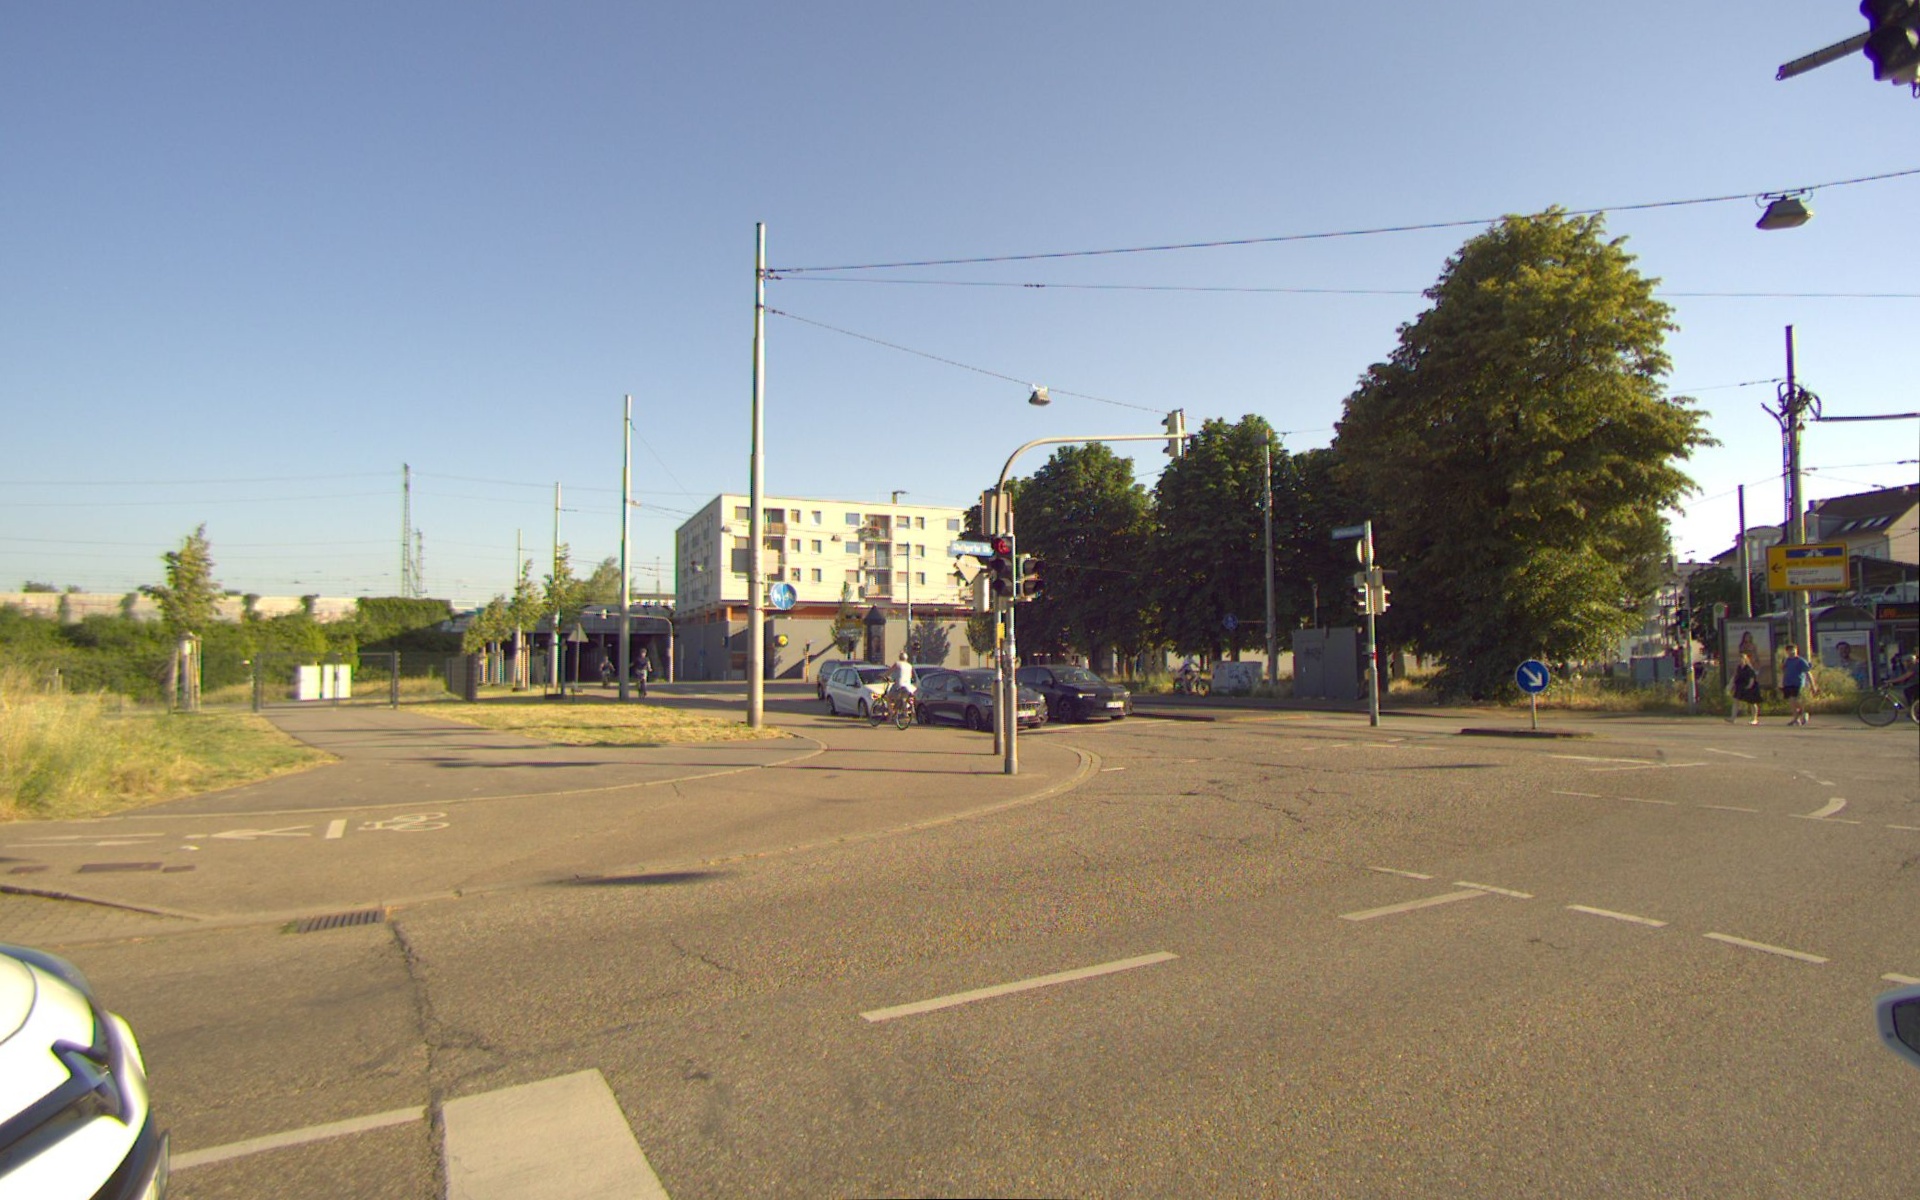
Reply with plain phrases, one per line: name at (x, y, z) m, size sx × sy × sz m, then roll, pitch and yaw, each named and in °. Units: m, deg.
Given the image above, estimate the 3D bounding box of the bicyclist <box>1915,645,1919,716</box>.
bicyclist at (21.464, 1.736, 21.729) m, size 0.692 × 1.552 × 1.026 m, roll 2°, pitch -4°, yaw -38°

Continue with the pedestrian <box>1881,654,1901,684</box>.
pedestrian at (47.979, 3.547, 51.765) m, size 0.558 × 1.520 × 0.677 m, roll -2°, pitch -4°, yaw 32°

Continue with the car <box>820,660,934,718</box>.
car at (-2.586, 2.634, 30.405) m, size 1.975 × 1.587 × 4.246 m, roll 1°, pitch -4°, yaw -27°

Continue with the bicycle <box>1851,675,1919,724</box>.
bicycle at (21.903, 2.284, 23.122) m, size 0.658 × 1.083 × 1.995 m, roll 2°, pitch -4°, yaw -41°

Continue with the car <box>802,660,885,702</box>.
car at (-4.872, 3.300, 41.432) m, size 1.975 × 1.587 × 4.426 m, roll 1°, pitch -4°, yaw -27°

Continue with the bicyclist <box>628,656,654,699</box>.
bicyclist at (-12.552, 3.031, 39.492) m, size 0.867 × 1.646 × 0.967 m, roll 1°, pitch -3°, yaw -26°

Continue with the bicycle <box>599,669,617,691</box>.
bicycle at (-19.401, 4.400, 55.303) m, size 0.781 × 1.164 × 2.280 m, roll 1°, pitch -4°, yaw -23°

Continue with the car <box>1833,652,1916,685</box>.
car at (59.351, 4.433, 65.344) m, size 2.017 × 1.987 × 5.153 m, roll -4°, pitch -4°, yaw 19°

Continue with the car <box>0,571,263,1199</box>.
car at (-3.063, 0.712, 1.008) m, size 3.733 × 1.488 × 1.692 m, roll 2°, pitch -4°, yaw -32°

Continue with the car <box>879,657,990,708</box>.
car at (-0.941, 2.722, 33.653) m, size 1.975 × 1.587 × 4.426 m, roll 1°, pitch -4°, yaw -27°

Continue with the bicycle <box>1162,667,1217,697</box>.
bicycle at (9.189, 3.278, 40.311) m, size 0.695 × 1.157 × 2.176 m, roll 2°, pitch -4°, yaw -40°

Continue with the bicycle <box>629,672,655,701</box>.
bicycle at (-12.532, 3.375, 39.575) m, size 0.744 × 1.107 × 1.938 m, roll 1°, pitch -4°, yaw -25°

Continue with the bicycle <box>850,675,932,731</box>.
bicycle at (-1.528, 2.241, 22.080) m, size 0.659 × 1.083 × 1.993 m, roll 3°, pitch -2°, yaw -44°

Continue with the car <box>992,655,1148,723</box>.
car at (2.769, 2.276, 26.408) m, size 2.027 × 1.587 × 4.423 m, roll 1°, pitch -4°, yaw -26°

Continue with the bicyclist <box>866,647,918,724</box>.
bicyclist at (-1.491, 1.863, 22.124) m, size 0.772 × 1.627 × 0.846 m, roll 3°, pitch -2°, yaw -44°

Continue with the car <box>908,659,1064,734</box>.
car at (0.518, 2.264, 24.290) m, size 1.975 × 1.587 × 4.246 m, roll 0°, pitch -3°, yaw -27°

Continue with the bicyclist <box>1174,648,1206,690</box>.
bicyclist at (9.240, 2.769, 40.315) m, size 0.708 × 1.650 × 1.030 m, roll 2°, pitch -4°, yaw -39°

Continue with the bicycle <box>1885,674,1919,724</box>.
bicycle at (21.456, 2.155, 21.739) m, size 0.657 × 1.083 × 1.998 m, roll 2°, pitch -4°, yaw -37°

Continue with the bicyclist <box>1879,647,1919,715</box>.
bicyclist at (21.908, 1.857, 23.081) m, size 0.655 × 1.552 × 1.025 m, roll 2°, pitch -4°, yaw -40°

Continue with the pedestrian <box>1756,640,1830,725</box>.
pedestrian at (19.608, 1.927, 23.651) m, size 1.053 × 1.950 × 0.910 m, roll 1°, pitch -4°, yaw -24°

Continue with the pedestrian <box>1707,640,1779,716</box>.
pedestrian at (18.747, 1.859, 24.060) m, size 1.053 × 1.769 × 0.910 m, roll 1°, pitch -3°, yaw -24°

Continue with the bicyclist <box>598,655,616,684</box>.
bicyclist at (-19.433, 3.827, 55.329) m, size 0.840 × 1.567 × 1.016 m, roll 1°, pitch -4°, yaw -24°
